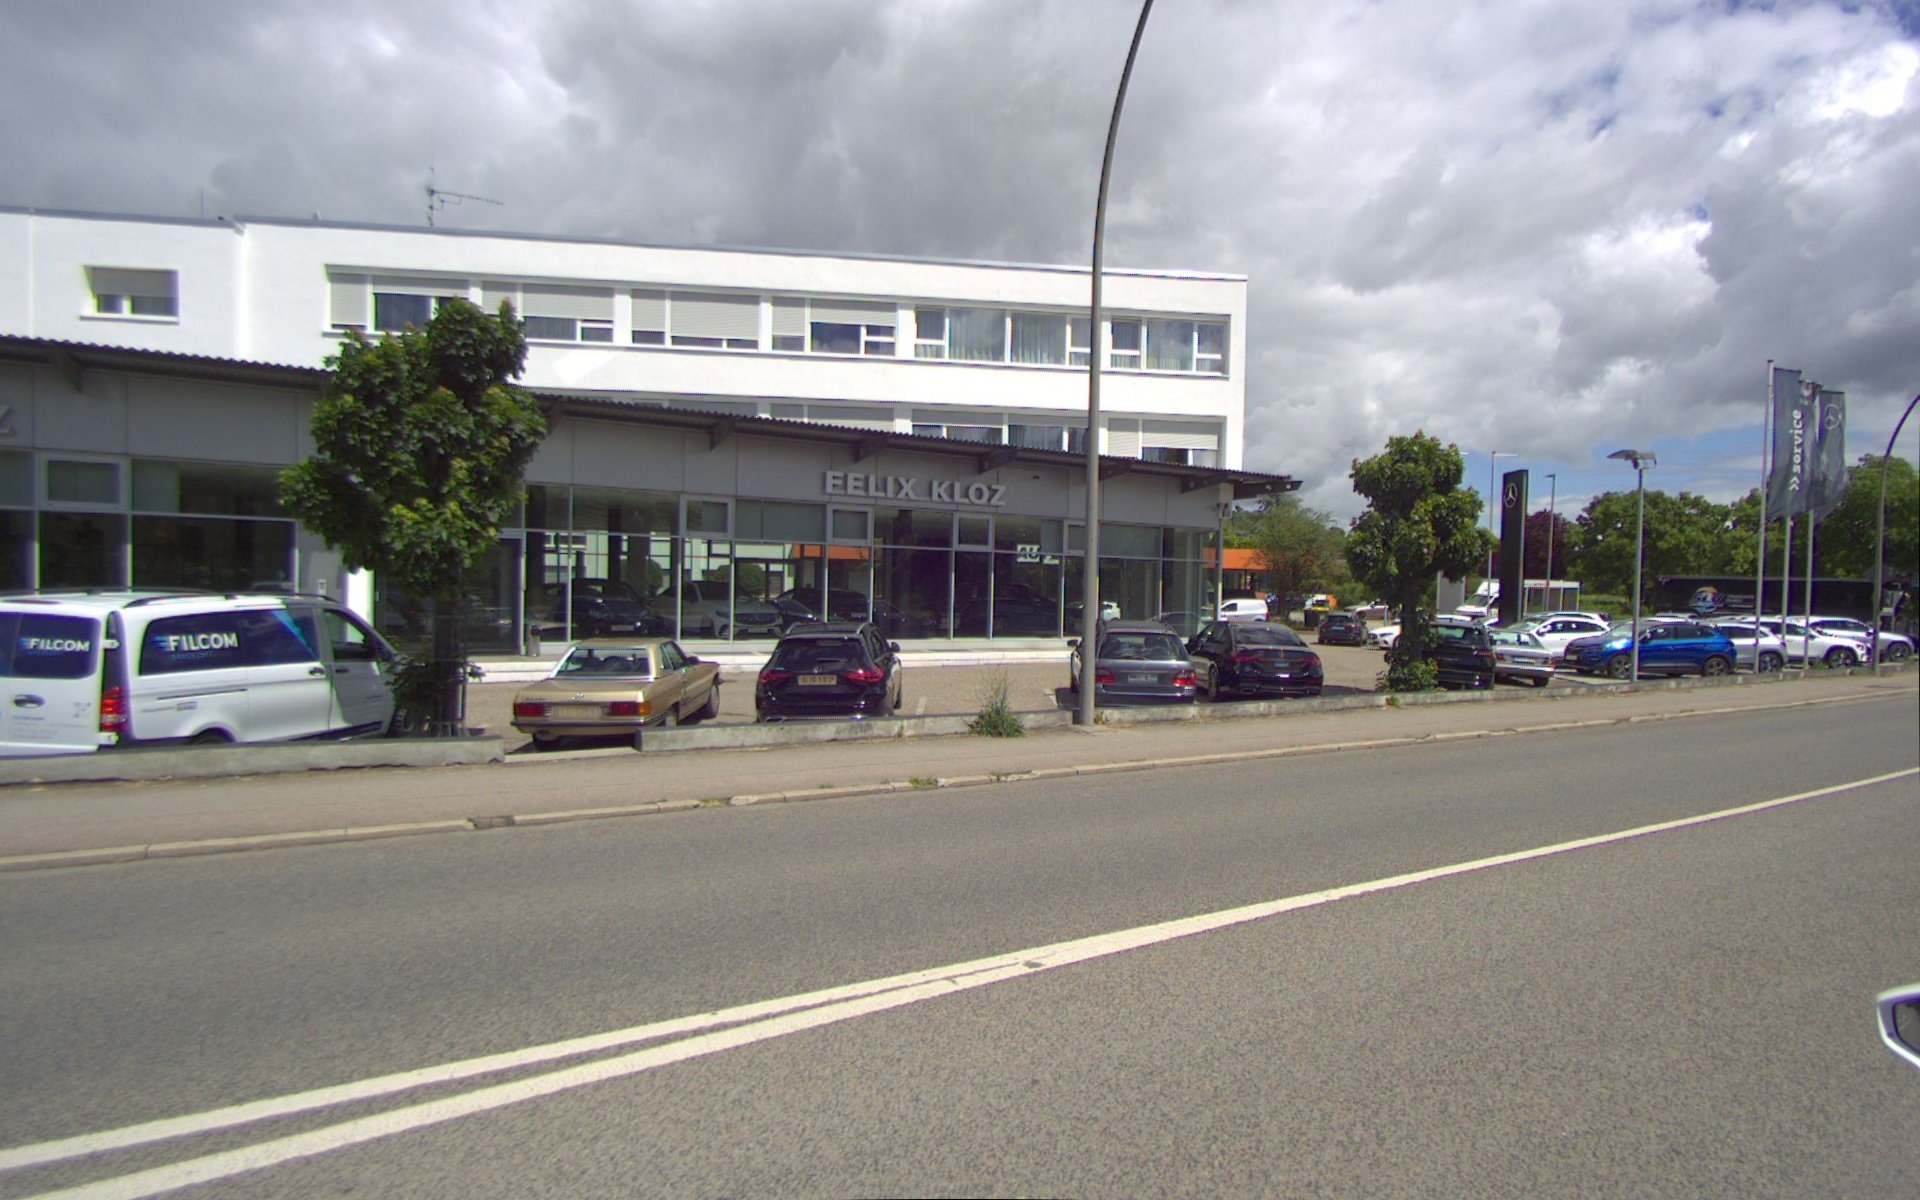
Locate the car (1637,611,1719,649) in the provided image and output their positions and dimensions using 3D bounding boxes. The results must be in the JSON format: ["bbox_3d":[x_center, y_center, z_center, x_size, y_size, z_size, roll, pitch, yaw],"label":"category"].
[{"bbox_3d":[32.890,1.346,45.970,4.721,1.623,1.784,1,0,-37],"label":"car"}]

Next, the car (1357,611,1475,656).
[{"bbox_3d":[18.259,1.318,40.323,3.876,1.647,1.804,1,2,1],"label":"car"}]

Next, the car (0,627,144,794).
[{"bbox_3d":[-9.809,1.077,9.001,1.768,1.445,3.954,1,1,0],"label":"car"}]

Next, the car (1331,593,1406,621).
[{"bbox_3d":[28.861,0.487,71.037,4.589,1.870,1.830,2,1,-9],"label":"car"}]

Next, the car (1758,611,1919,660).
[{"bbox_3d":[34.466,1.356,39.307,4.646,1.626,1.989,2,2,7],"label":"car"}]

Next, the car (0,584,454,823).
[{"bbox_3d":[-7.493,0.822,10.403,1.855,1.863,4.960,1,0,2],"label":"car"}]

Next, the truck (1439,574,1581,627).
[{"bbox_3d":[34.871,0.059,63.730,8.449,3.090,2.656,1,0,-16],"label":"truck"}]

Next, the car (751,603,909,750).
[{"bbox_3d":[-1.678,0.933,14.362,1.769,1.647,4.507,0,1,-1],"label":"car"}]

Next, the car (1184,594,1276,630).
[{"bbox_3d":[15.137,0.688,56.382,4.589,1.870,1.830,2,1,-9],"label":"car"}]

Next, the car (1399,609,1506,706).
[{"bbox_3d":[10.753,1.149,21.873,1.771,1.647,4.346,5,3,27],"label":"car"}]

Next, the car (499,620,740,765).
[{"bbox_3d":[-4.347,1.099,13.628,1.856,1.347,4.463,1,2,-2],"label":"car"}]

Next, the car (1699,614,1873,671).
[{"bbox_3d":[28.425,1.410,34.743,4.216,1.700,1.936,2,1,22],"label":"car"}]

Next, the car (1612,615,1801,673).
[{"bbox_3d":[23.190,1.361,31.326,4.432,1.587,1.873,1,2,0],"label":"car"}]

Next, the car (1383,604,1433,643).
[{"bbox_3d":[20.375,1.048,45.783,1.811,1.651,3.999,1,0,21],"label":"car"}]

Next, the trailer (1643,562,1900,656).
[{"bbox_3d":[38.908,0.317,48.745,9.315,4.137,3.307,2,0,37],"label":"trailer"}]

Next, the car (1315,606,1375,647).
[{"bbox_3d":[17.238,1.132,44.864,1.772,1.647,3.945,2,2,32],"label":"car"}]

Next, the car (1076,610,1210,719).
[{"bbox_3d":[2.880,0.958,16.566,1.767,1.514,3.956,1,0,5],"label":"car"}]

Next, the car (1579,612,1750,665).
[{"bbox_3d":[23.771,1.265,34.017,4.432,1.587,1.873,1,2,0],"label":"car"}]

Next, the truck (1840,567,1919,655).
[{"bbox_3d":[43.198,0.511,44.864,2.963,3.874,5.503,1,0,-42],"label":"truck"}]

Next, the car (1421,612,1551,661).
[{"bbox_3d":[19.543,1.338,37.449,3.876,1.647,1.804,1,2,1],"label":"car"}]

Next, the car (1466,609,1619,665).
[{"bbox_3d":[18.528,1.165,32.026,3.881,1.647,1.801,1,2,-7],"label":"car"}]

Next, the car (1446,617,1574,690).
[{"bbox_3d":[14.646,1.359,27.029,1.768,1.408,4.599,4,3,13],"label":"car"}]

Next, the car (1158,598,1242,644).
[{"bbox_3d":[9.483,0.799,40.084,1.891,1.611,4.581,3,0,-5],"label":"car"}]

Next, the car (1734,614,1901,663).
[{"bbox_3d":[31.281,1.375,36.809,4.247,1.485,1.795,2,3,25],"label":"car"}]

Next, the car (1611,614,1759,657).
[{"bbox_3d":[28.834,1.397,40.065,4.468,1.487,1.868,1,2,2],"label":"car"}]

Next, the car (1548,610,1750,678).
[{"bbox_3d":[19.878,1.241,29.127,4.481,1.691,1.894,2,2,0],"label":"car"}]

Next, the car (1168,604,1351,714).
[{"bbox_3d":[5.432,0.987,18.949,2.022,1.647,4.635,1,1,0],"label":"car"}]
